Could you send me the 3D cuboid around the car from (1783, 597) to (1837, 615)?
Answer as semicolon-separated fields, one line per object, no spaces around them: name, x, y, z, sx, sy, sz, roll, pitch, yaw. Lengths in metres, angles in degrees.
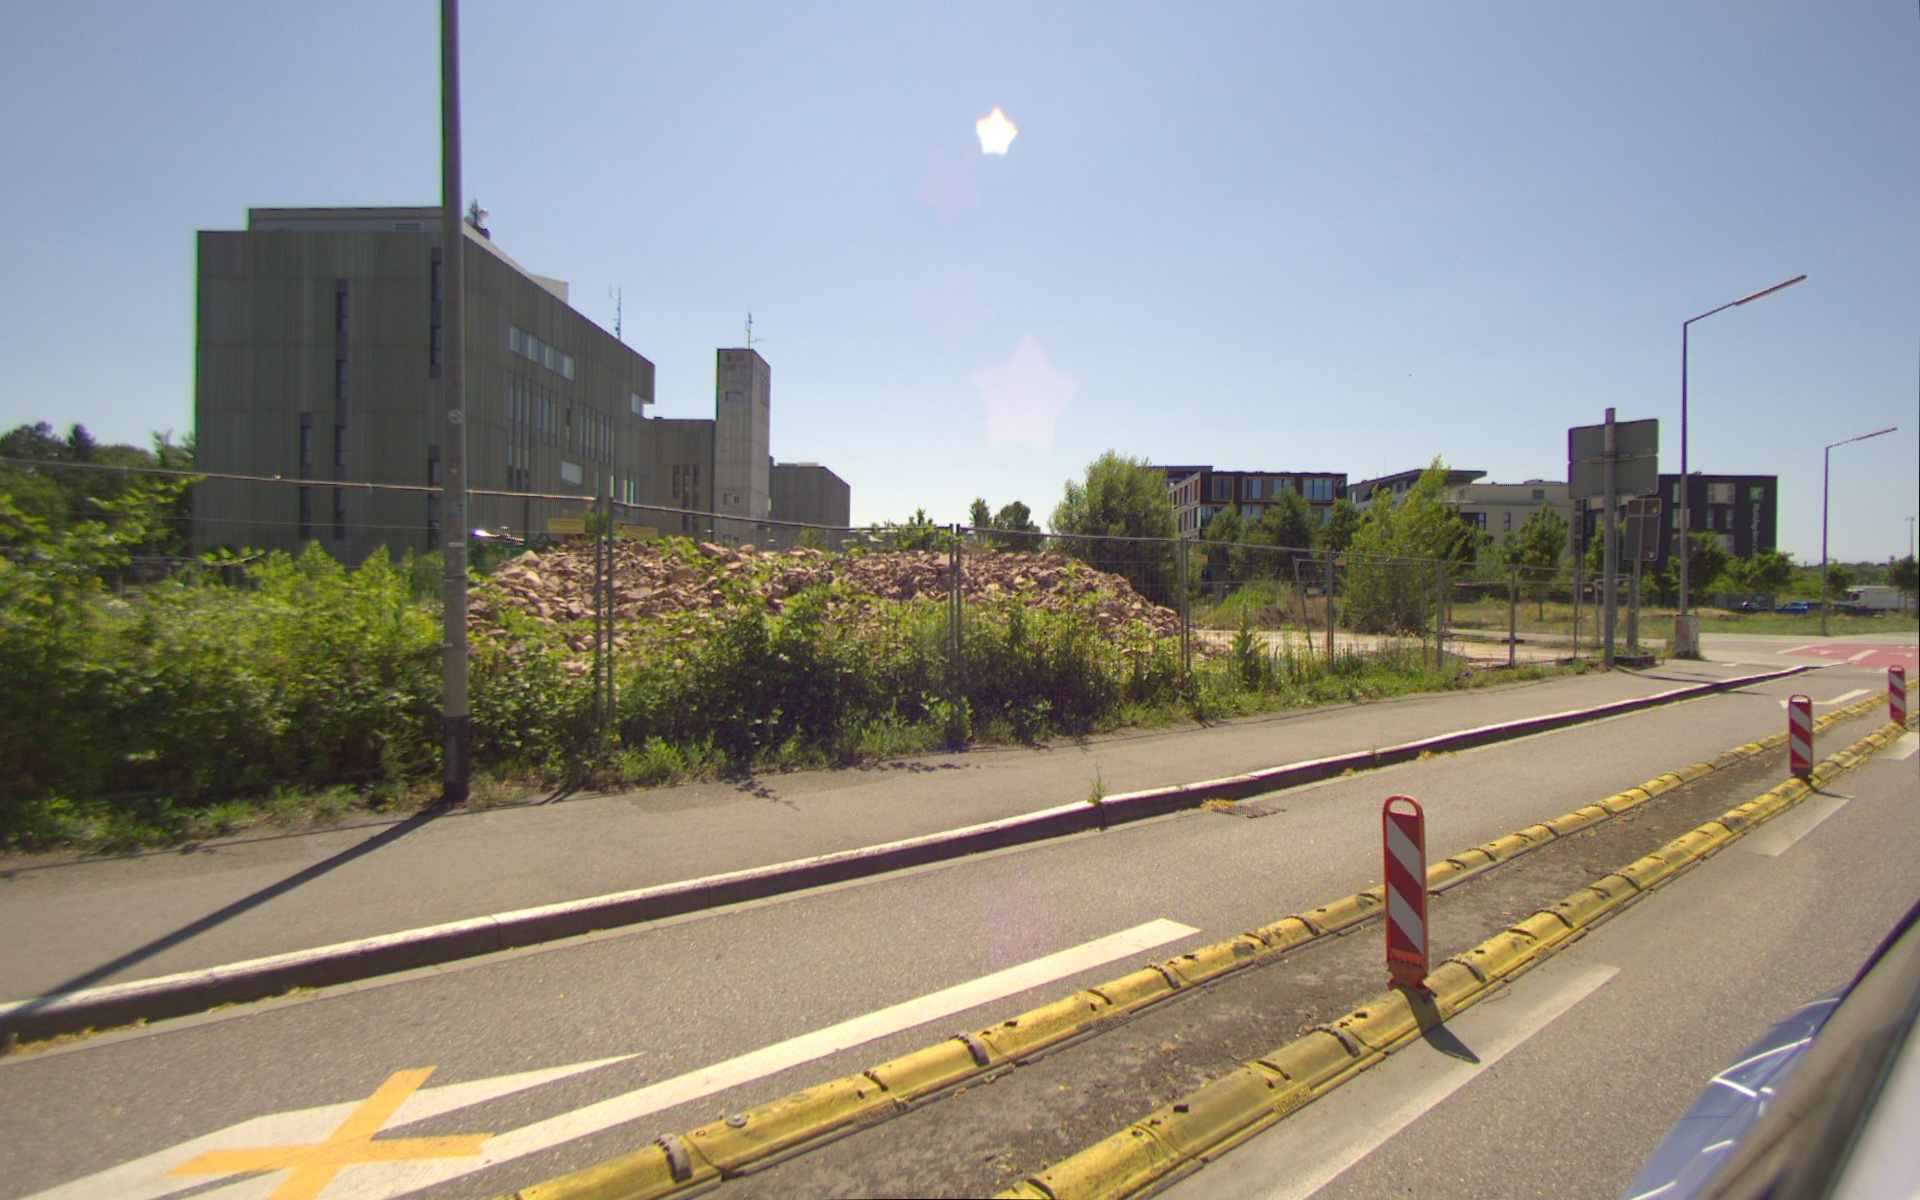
car;83.861;0.548;99.908;1.918;1.672;4.070;1;1;1

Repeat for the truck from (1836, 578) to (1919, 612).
truck;102.650;-0.529;109.879;11.919;3.504;3.017;1;2;4

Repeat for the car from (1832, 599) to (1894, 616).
car;88.407;0.697;99.200;1.993;1.581;4.508;1;1;0

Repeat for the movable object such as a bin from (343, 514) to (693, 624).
movable object such as a bin;-15.307;-0.982;35.683;10.289;3.301;4.946;0;1;-42

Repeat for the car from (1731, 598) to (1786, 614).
car;78.969;0.551;100.121;1.923;1.462;4.130;1;1;-4
